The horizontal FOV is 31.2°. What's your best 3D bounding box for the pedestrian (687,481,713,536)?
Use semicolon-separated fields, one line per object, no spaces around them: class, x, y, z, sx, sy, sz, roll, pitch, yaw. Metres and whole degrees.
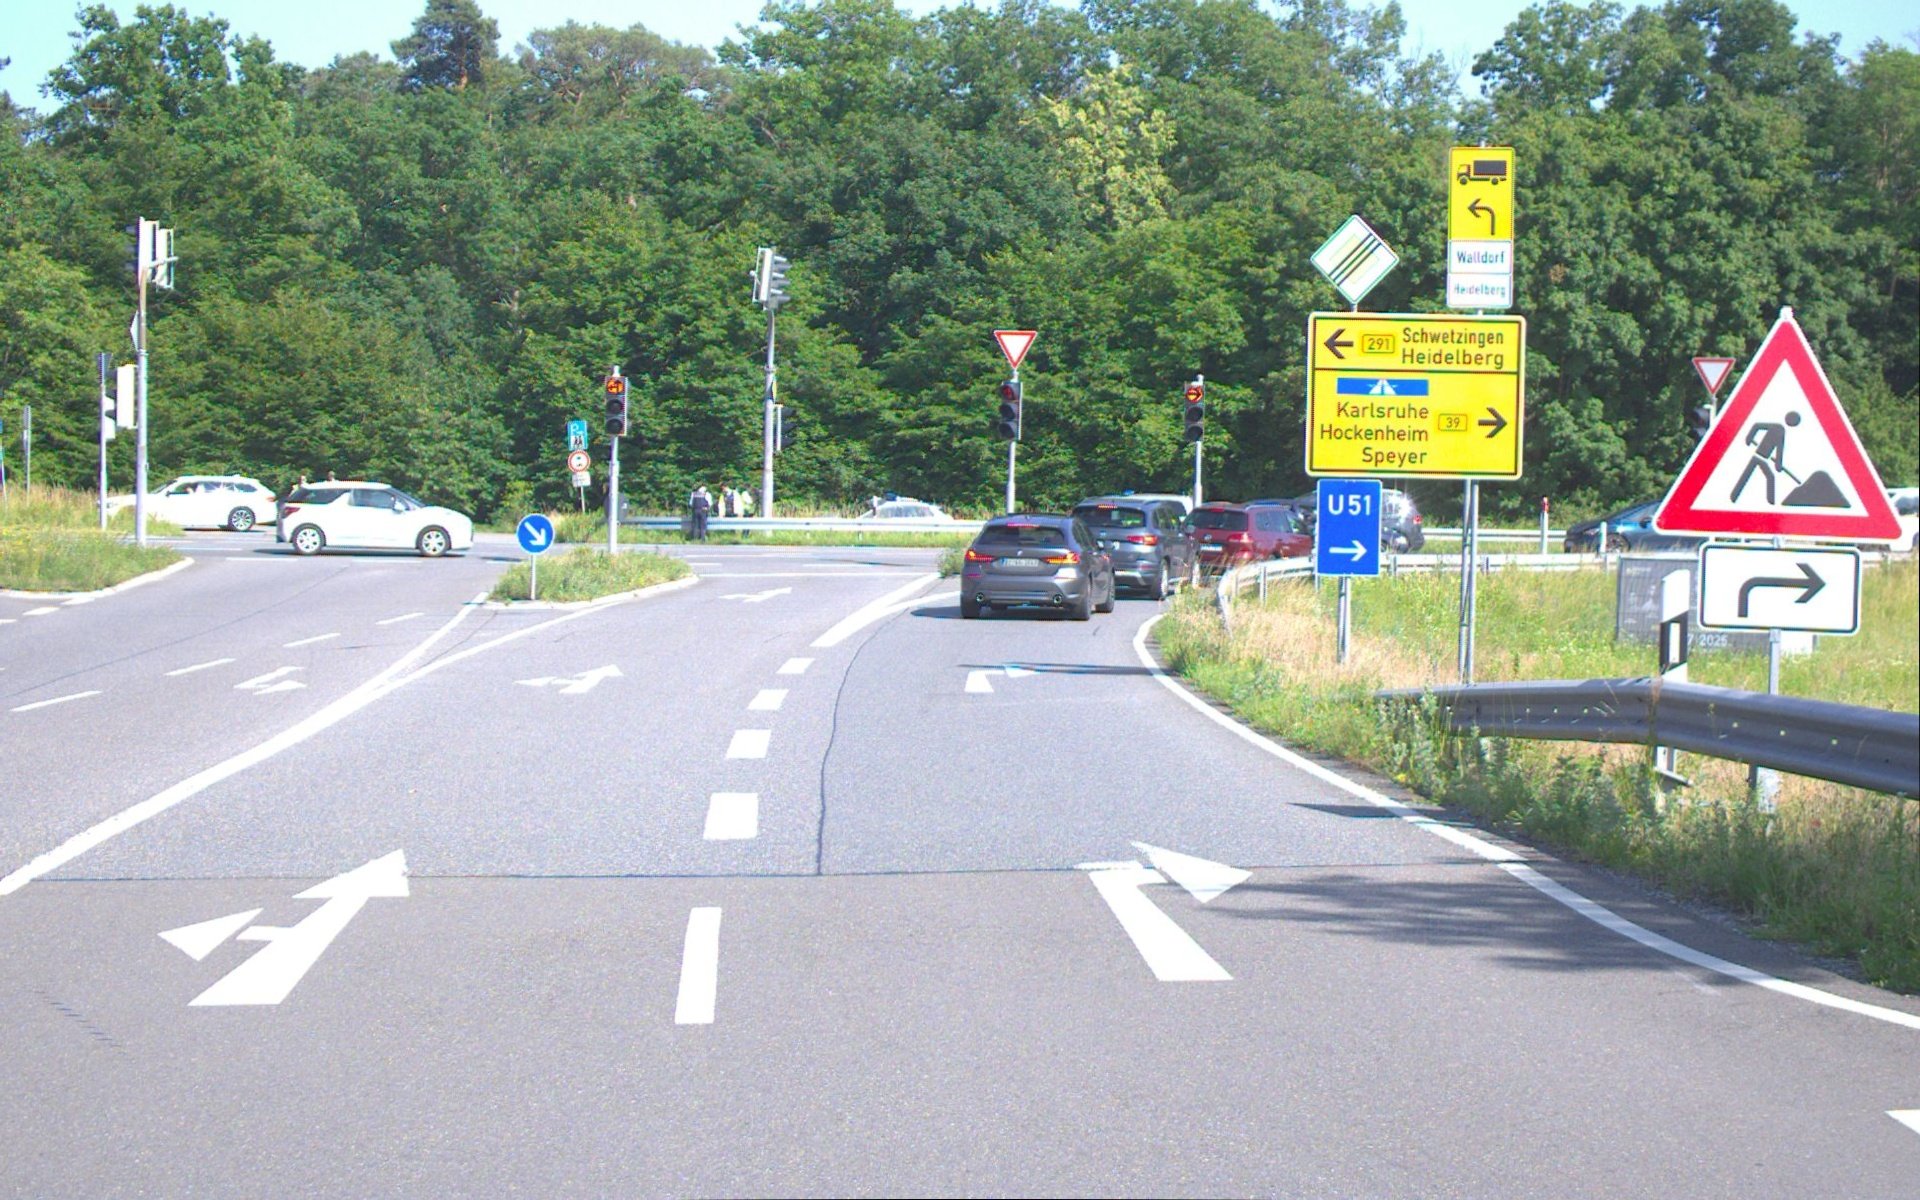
pedestrian;-6.536;-2.299;86.398;0.523;1.386;0.514;-1;1;8

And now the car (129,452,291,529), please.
car;-20.433;-2.984;93.653;3.986;2.006;1.796;-2;2;-24

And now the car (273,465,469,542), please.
car;-11.838;-1.933;69.179;3.832;1.481;1.891;0;1;-9

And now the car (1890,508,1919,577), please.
car;22.427;-1.274;73.876;4.227;1.454;2.001;-2;2;-9

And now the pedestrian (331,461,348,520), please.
pedestrian;-17.958;-3.170;99.561;0.407;1.708;0.453;-1;1;-7

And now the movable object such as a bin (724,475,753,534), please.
movable object such as a bin;-5.603;-2.425;87.026;0.602;1.483;0.732;-1;1;5

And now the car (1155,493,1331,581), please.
car;5.111;-1.146;61.585;1.802;1.495;3.995;2;2;26

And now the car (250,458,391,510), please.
car;-18.676;-3.400;100.496;3.986;1.417;1.796;-2;2;-9

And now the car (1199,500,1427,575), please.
car;7.390;-1.330;72.207;4.363;1.454;2.001;-2;2;-9

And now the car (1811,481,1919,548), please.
car;23.026;-2.074;81.965;4.880;1.546;2.001;-2;2;-9

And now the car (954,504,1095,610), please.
car;0.957;-0.643;48.873;1.799;1.393;4.000;2;2;3

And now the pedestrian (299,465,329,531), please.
pedestrian;-17.022;-2.690;90.560;0.756;1.715;0.679;-1;2;-12

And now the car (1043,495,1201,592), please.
car;2.691;-0.941;56.242;1.800;1.495;3.998;1;2;14
